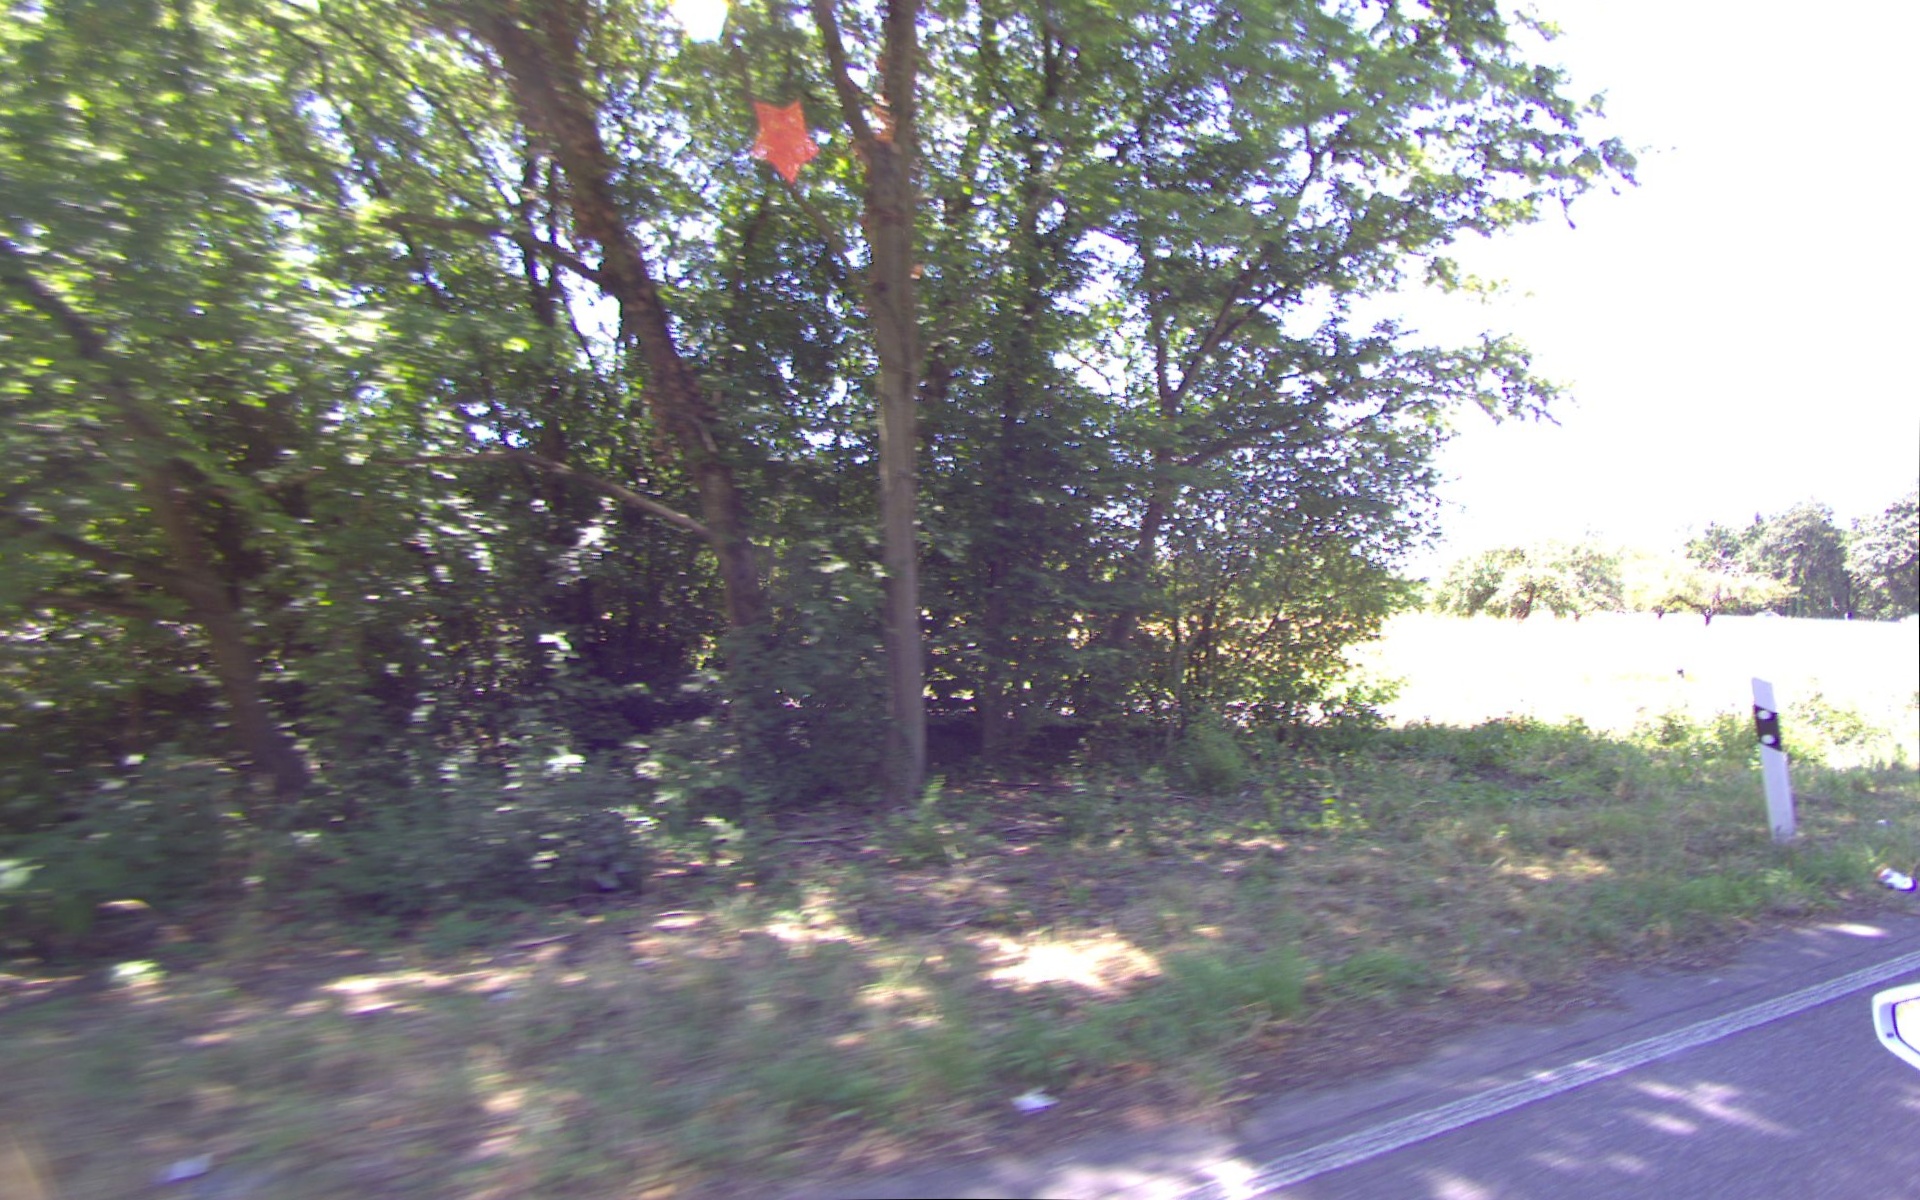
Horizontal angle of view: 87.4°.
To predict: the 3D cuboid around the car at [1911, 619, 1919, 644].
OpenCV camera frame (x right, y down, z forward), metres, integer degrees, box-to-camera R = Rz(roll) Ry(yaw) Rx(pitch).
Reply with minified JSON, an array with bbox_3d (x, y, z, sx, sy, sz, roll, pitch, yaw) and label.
[{"bbox_3d":[63.847,2.036,65.931,1.802,1.611,4.196,-4,-4,41],"label":"car"}]
